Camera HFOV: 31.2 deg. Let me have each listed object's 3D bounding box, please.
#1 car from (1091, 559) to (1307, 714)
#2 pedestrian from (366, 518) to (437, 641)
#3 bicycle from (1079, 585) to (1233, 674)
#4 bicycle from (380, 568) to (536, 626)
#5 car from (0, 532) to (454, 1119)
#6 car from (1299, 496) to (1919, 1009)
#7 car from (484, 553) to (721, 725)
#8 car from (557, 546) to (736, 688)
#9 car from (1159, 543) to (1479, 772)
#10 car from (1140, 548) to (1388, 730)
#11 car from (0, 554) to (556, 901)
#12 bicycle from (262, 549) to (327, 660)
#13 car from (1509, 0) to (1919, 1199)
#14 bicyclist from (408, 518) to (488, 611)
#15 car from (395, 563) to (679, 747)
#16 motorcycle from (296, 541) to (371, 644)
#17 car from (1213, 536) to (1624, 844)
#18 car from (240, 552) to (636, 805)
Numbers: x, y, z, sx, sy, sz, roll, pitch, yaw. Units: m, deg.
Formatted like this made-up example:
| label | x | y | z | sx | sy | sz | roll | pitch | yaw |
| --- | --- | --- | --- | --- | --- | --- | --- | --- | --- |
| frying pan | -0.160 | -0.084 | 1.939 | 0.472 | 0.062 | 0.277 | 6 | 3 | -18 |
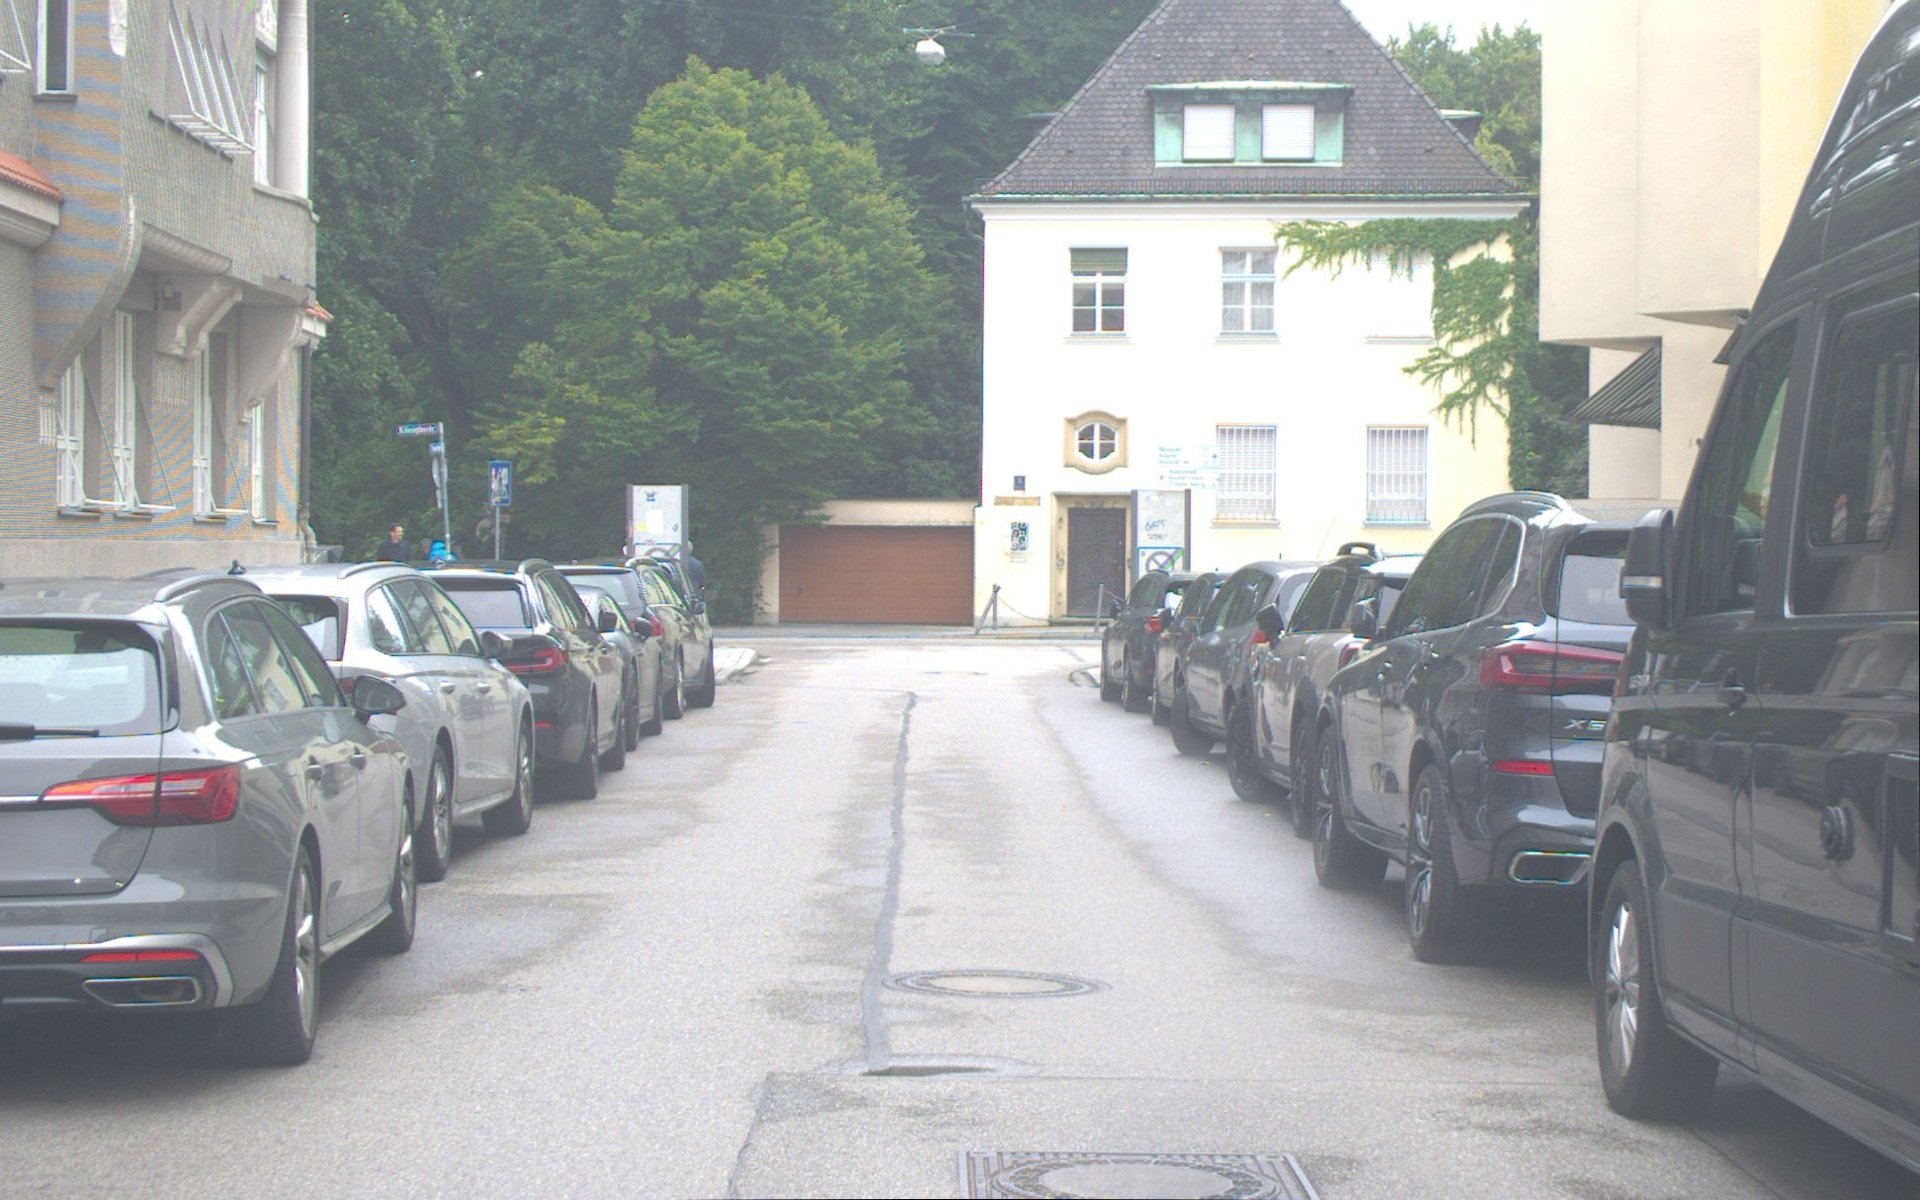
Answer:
| label | x | y | z | sx | sy | sz | roll | pitch | yaw |
| --- | --- | --- | --- | --- | --- | --- | --- | --- | --- |
| car | 2.409 | 0.329 | 35.709 | 1.692 | 1.466 | 4.611 | 1 | 1 | -3 |
| pedestrian | -8.188 | -0.307 | 50.439 | 0.839 | 1.781 | 0.936 | 1 | 1 | 2 |
| bicycle | 2.456 | 0.362 | 43.122 | 1.794 | 1.082 | 0.665 | 0 | 2 | 27 |
| bicycle | -9.106 | -0.063 | 62.339 | 2.613 | 0.984 | 0.986 | 1 | 1 | 14 |
| car | -2.780 | 0.538 | 11.132 | 1.837 | 1.508 | 4.609 | 1 | 1 | -3 |
| car | 2.626 | 0.476 | 13.911 | 1.993 | 1.683 | 4.674 | 2 | 1 | 0 |
| car | -3.343 | 0.314 | 32.917 | 1.755 | 1.510 | 4.708 | 0 | 1 | 0 |
| car | -3.449 | 0.163 | 38.237 | 1.704 | 1.510 | 2.911 | 0 | 1 | 0 |
| car | 2.547 | 0.363 | 25.249 | 1.633 | 1.531 | 3.856 | 1 | 1 | -5 |
| car | 2.588 | 0.292 | 30.008 | 1.634 | 1.466 | 3.856 | 1 | 1 | -3 |
| car | -3.186 | 0.516 | 16.889 | 1.805 | 1.426 | 4.439 | -1 | 1 | 1 |
| bicycle | -8.278 | 0.040 | 42.811 | 0.618 | 1.345 | 1.675 | 1 | 1 | -5 |
| car | 2.864 | -0.034 | 7.205 | 2.254 | 2.950 | 6.132 | 2 | 0 | -1 |
| bicyclist | -9.286 | -0.647 | 62.379 | 1.124 | 1.646 | 0.986 | 1 | 1 | 14 |
| car | -3.304 | 0.387 | 27.547 | 1.755 | 1.326 | 4.097 | 0 | 1 | 0 |
| motorcycle | -8.990 | -0.121 | 49.378 | 0.736 | 1.436 | 2.147 | 1 | 1 | -2 |
| car | 2.542 | 0.442 | 19.944 | 1.633 | 1.586 | 3.969 | 1 | 1 | -3 |
| car | -3.224 | 0.420 | 22.149 | 1.993 | 1.443 | 4.779 | 0 | 1 | -2 |
